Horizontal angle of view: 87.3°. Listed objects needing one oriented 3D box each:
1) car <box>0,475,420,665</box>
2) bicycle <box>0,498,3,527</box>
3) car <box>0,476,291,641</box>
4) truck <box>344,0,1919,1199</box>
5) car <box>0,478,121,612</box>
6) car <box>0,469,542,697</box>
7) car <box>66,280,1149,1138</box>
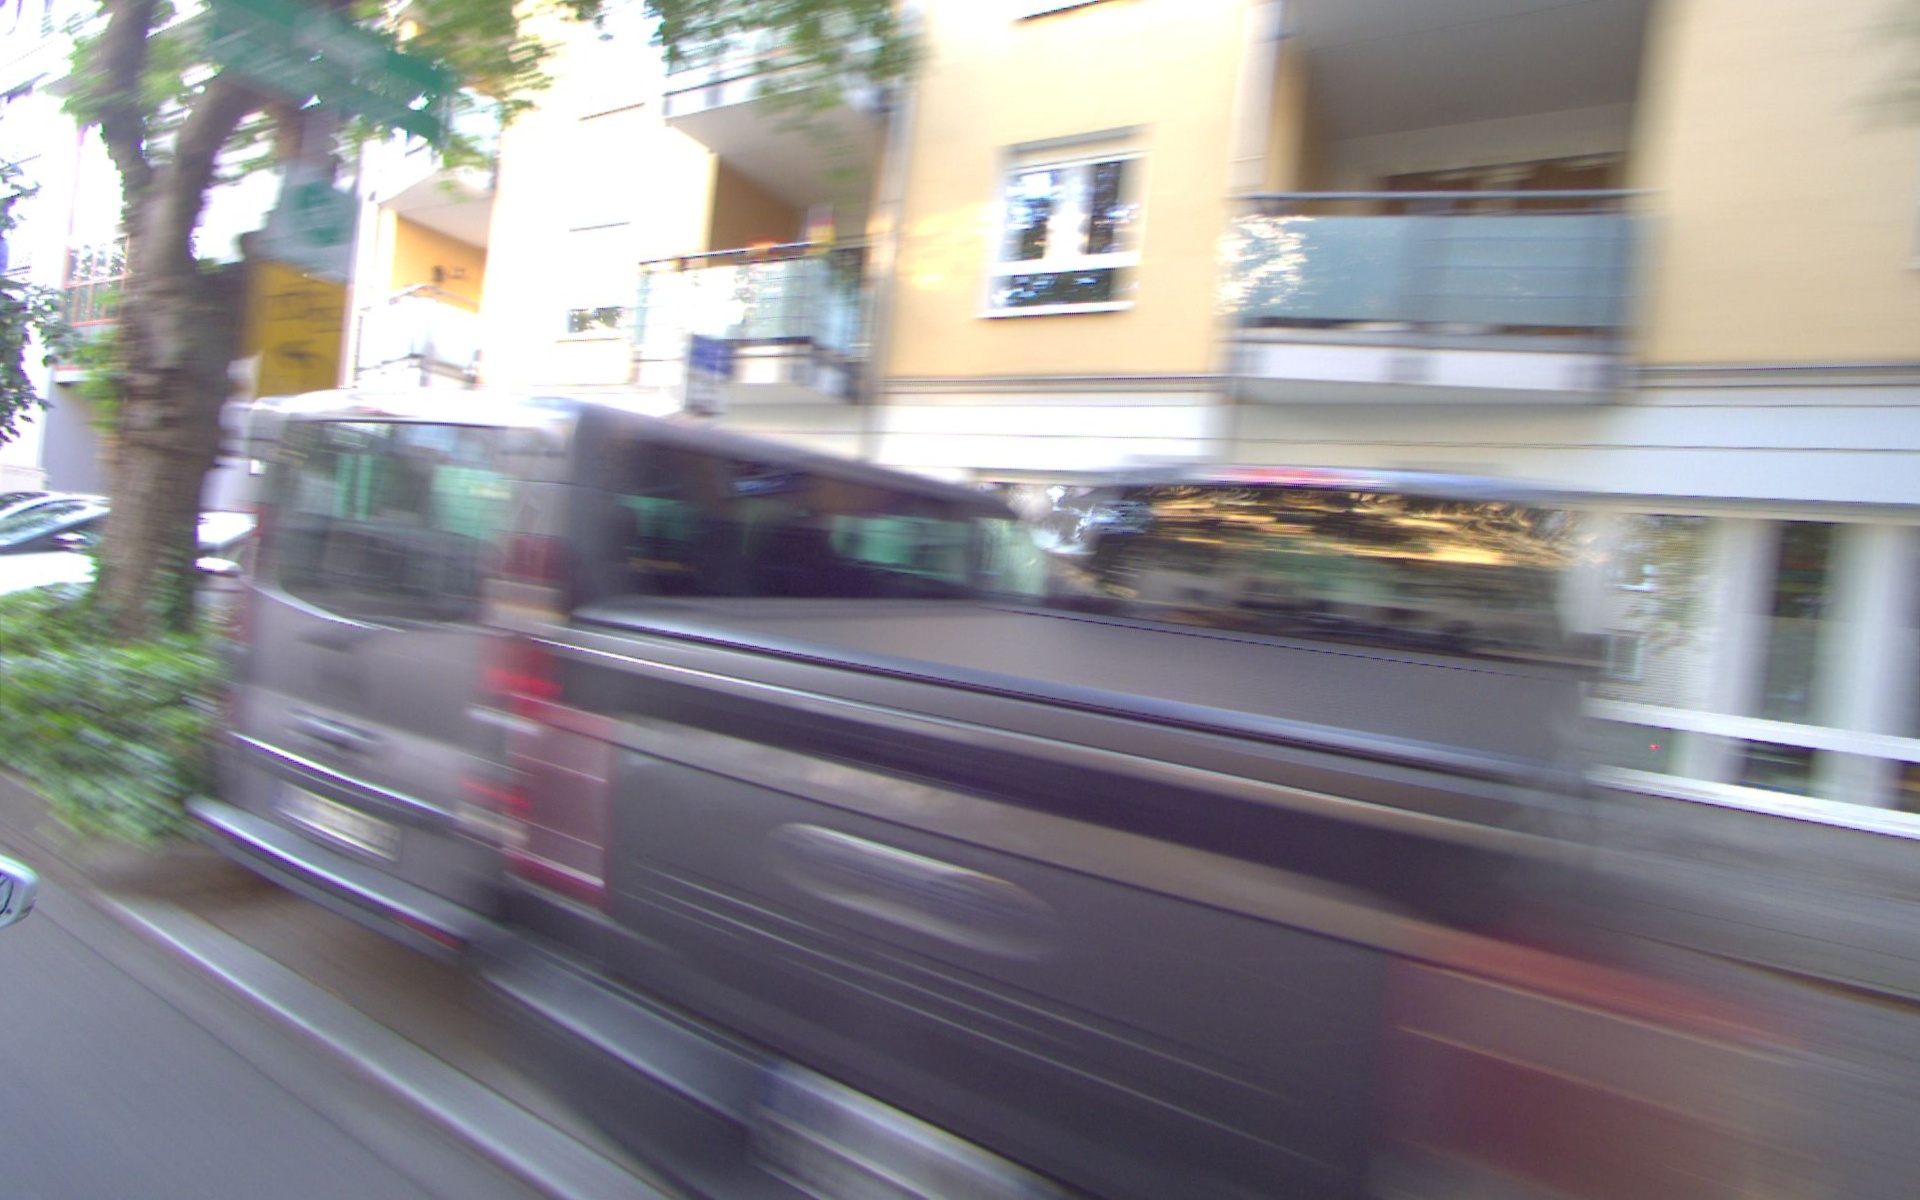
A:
[{"bbox_3d":[-8.453,-0.297,10.220,1.959,1.539,4.788,7,-1,33],"label":"car"},{"bbox_3d":[-17.273,-1.227,17.269,1.775,1.251,0.828,7,1,35],"label":"bicycle"},{"bbox_3d":[-10.562,-0.546,11.260,1.977,1.590,4.629,7,-1,31],"label":"car"},{"bbox_3d":[1.455,0.235,3.739,2.176,2.339,5.895,7,0,32],"label":"truck"},{"bbox_3d":[-12.933,-0.840,12.363,1.801,1.583,3.544,7,0,31],"label":"car"},{"bbox_3d":[-6.324,-0.104,8.810,1.928,1.521,4.628,7,0,30],"label":"car"},{"bbox_3d":[-0.977,0.304,4.975,2.160,2.092,4.606,7,0,30],"label":"car"}]
